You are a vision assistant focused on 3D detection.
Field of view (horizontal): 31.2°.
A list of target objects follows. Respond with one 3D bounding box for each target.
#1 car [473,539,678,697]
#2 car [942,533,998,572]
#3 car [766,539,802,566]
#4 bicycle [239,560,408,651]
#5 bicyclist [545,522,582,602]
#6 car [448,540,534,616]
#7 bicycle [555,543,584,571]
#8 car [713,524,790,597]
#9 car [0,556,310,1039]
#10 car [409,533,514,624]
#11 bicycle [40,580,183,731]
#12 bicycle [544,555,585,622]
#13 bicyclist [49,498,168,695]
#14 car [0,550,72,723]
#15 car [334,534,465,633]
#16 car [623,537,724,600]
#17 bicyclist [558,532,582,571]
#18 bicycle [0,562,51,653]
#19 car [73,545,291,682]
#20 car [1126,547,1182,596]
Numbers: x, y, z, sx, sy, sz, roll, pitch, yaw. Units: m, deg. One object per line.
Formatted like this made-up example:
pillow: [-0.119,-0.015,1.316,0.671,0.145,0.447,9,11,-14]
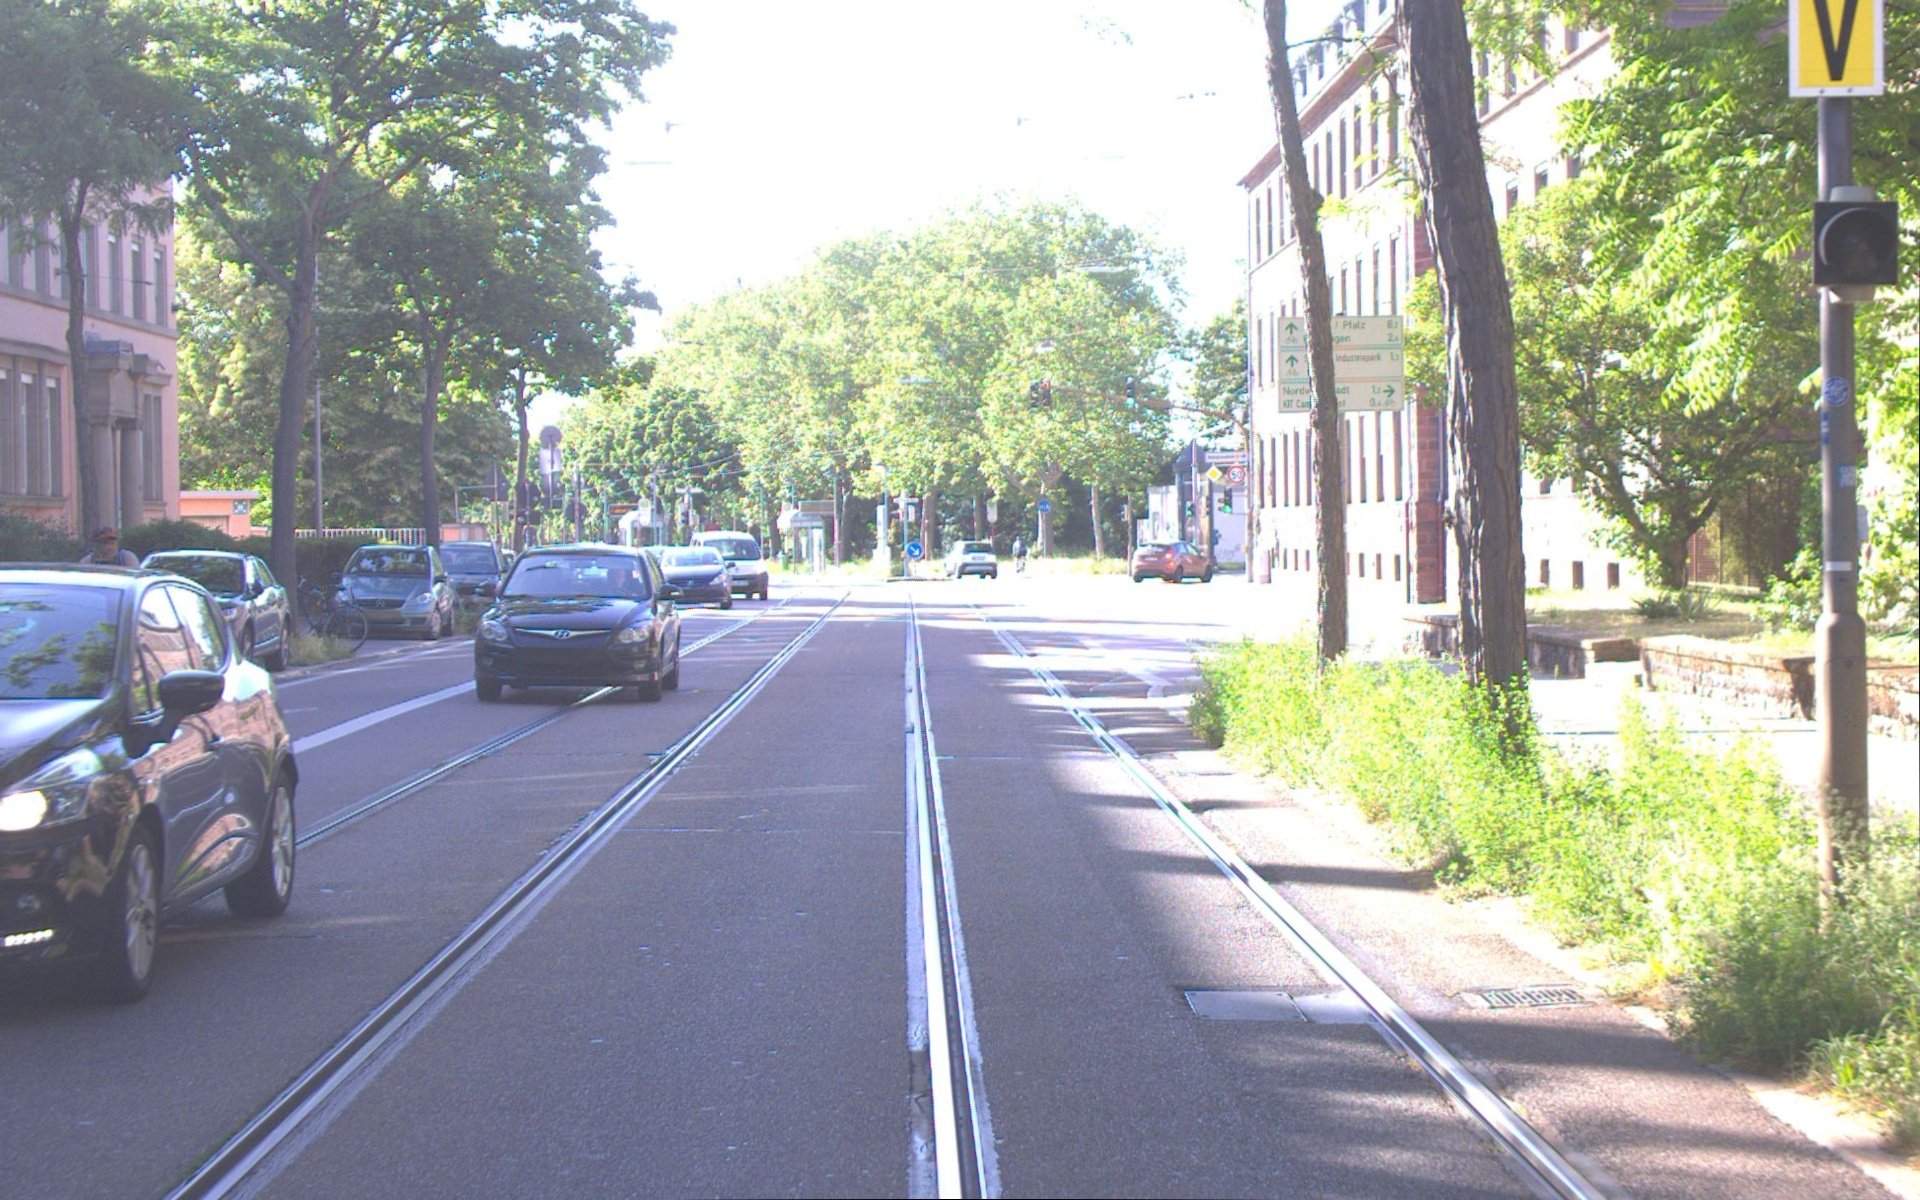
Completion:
car: [-3.739,0.130,33.969,1.699,1.466,4.072,0,1,-2]
car: [0.403,-2.006,145.258,1.942,1.605,4.001,0,1,-6]
car: [-10.504,-2.841,205.090,1.942,1.605,4.001,0,1,-6]
bicycle: [-9.083,0.072,49.081,2.285,1.194,0.559,2,2,6]
bicyclist: [-7.489,-0.722,64.910,0.557,1.451,0.869,-4,1,-4]
car: [-9.817,-0.483,72.176,1.581,1.483,3.613,2,1,-5]
bicycle: [-15.052,-1.669,132.577,0.749,1.083,2.178,-1,1,-16]
car: [-5.493,-1.049,91.080,1.809,1.882,4.441,0,1,-1]
car: [-3.508,0.572,12.383,1.699,1.434,4.072,0,1,-2]
car: [-9.727,-0.453,67.330,1.745,1.655,4.392,2,1,-5]
bicycle: [-7.138,0.448,29.013,0.694,1.173,1.913,-3,1,-1]
bicycle: [-7.440,-0.232,64.737,0.557,1.194,2.292,-4,1,-4]
bicyclist: [-7.162,-0.037,28.952,0.709,1.601,0.865,-3,1,-1]
car: [-9.102,0.292,30.526,1.560,1.452,3.931,2,1,-3]
car: [-9.517,-0.304,58.601,1.745,1.564,4.070,2,1,-3]
car: [-6.546,-0.733,78.173,1.809,1.382,4.442,-1,1,-11]
bicyclist: [-15.039,-1.872,132.526,0.749,1.499,0.964,-1,1,-16]
bicycle: [-13.552,0.067,46.629,2.285,1.194,0.559,2,2,6]
car: [-9.323,0.121,41.520,1.745,1.485,4.324,2,1,-2]
car: [6.710,-0.989,118.788,1.839,1.649,3.579,0,1,4]
